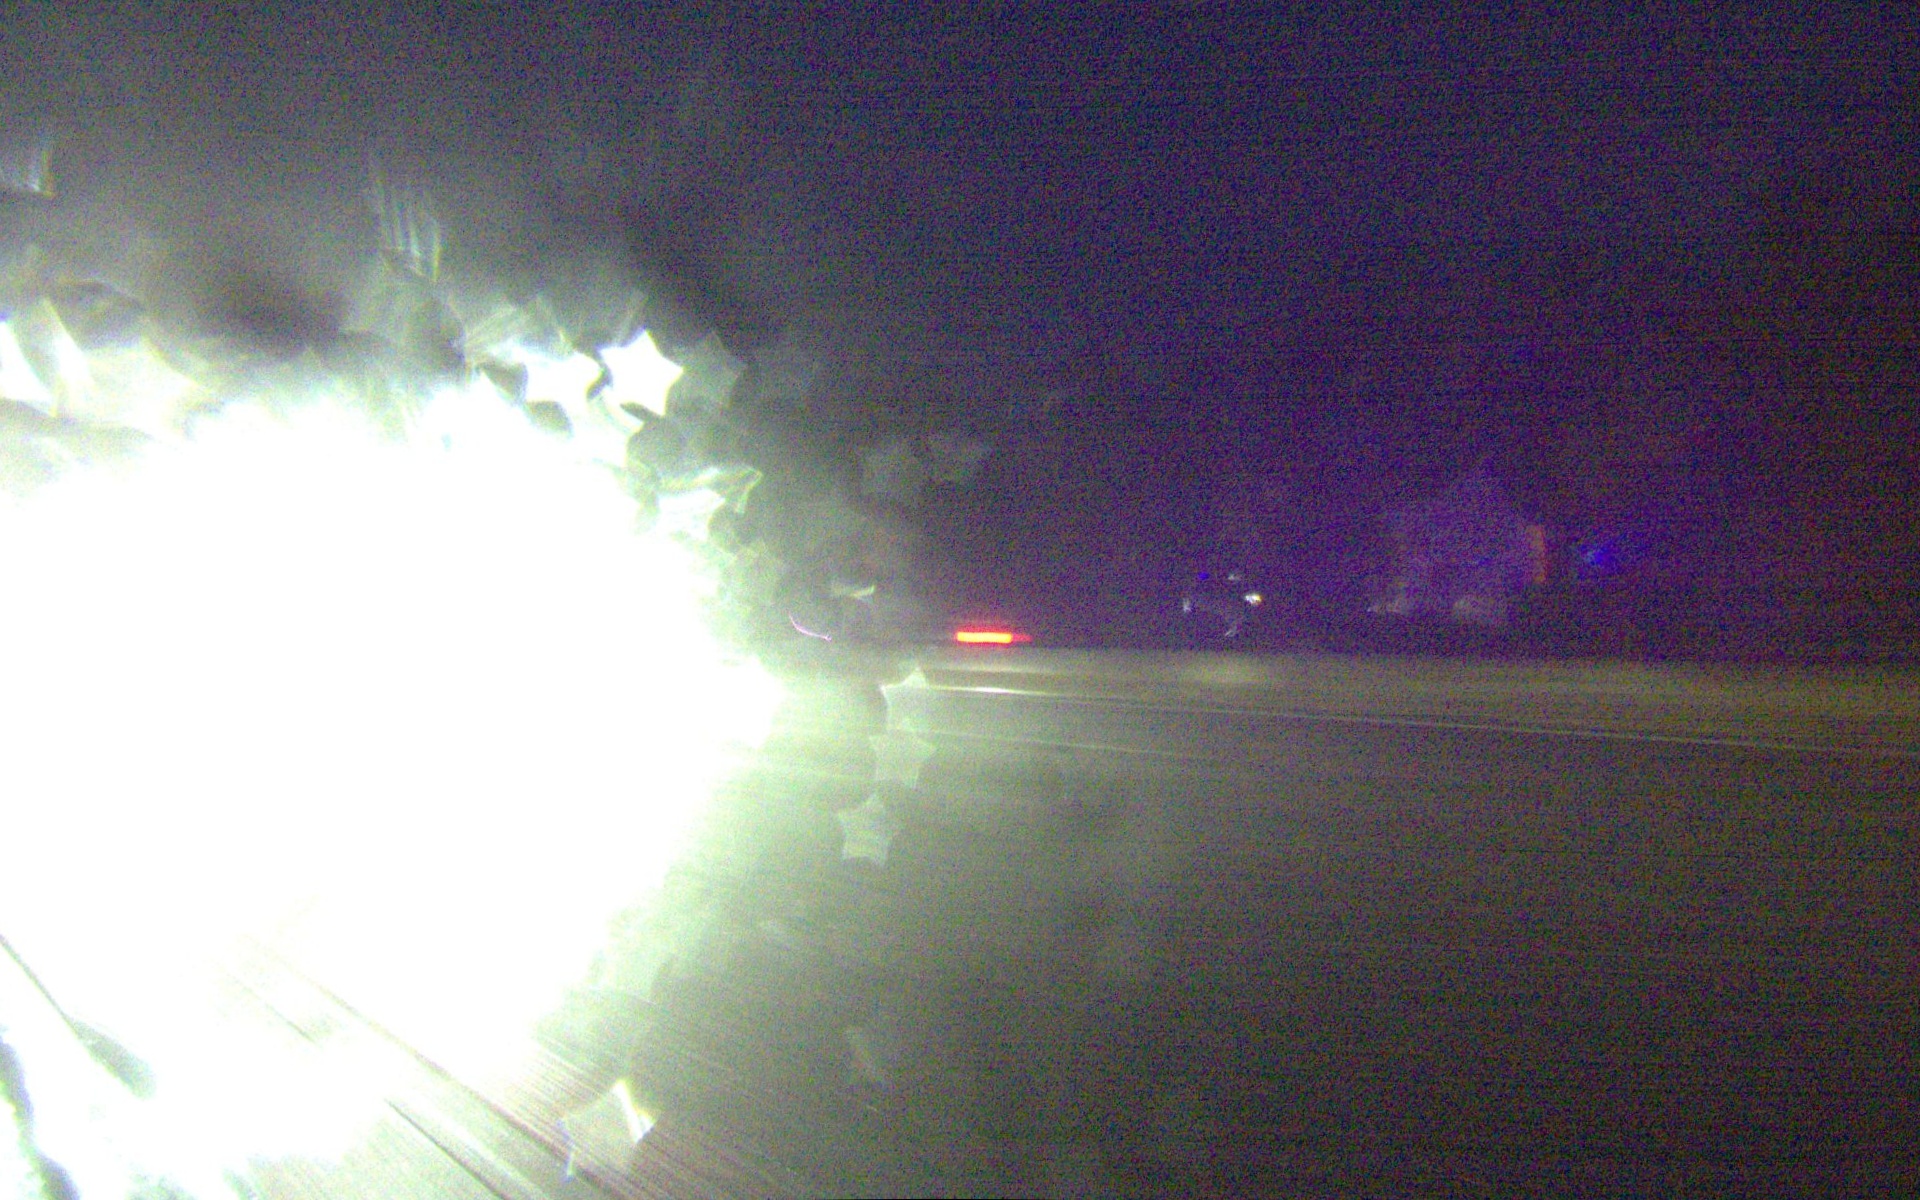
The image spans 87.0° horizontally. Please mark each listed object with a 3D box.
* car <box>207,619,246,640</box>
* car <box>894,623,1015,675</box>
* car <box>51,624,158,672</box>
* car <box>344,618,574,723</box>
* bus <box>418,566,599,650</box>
[{"bbox_3d":[-64.039,2.554,88.333,4.262,1.734,1.860,-1,0,41],"label":"car"},{"bbox_3d":[-0.244,1.725,36.831,4.262,1.734,1.860,-1,0,41],"label":"car"},{"bbox_3d":[-29.526,1.593,34.866,5.161,1.487,1.973,-1,0,40],"label":"car"},{"bbox_3d":[-8.221,1.036,16.473,3.998,1.452,1.973,-1,0,41],"label":"car"},{"bbox_3d":[-27.249,0.491,60.248,16.536,4.482,3.335,-1,0,42],"label":"bus"}]
